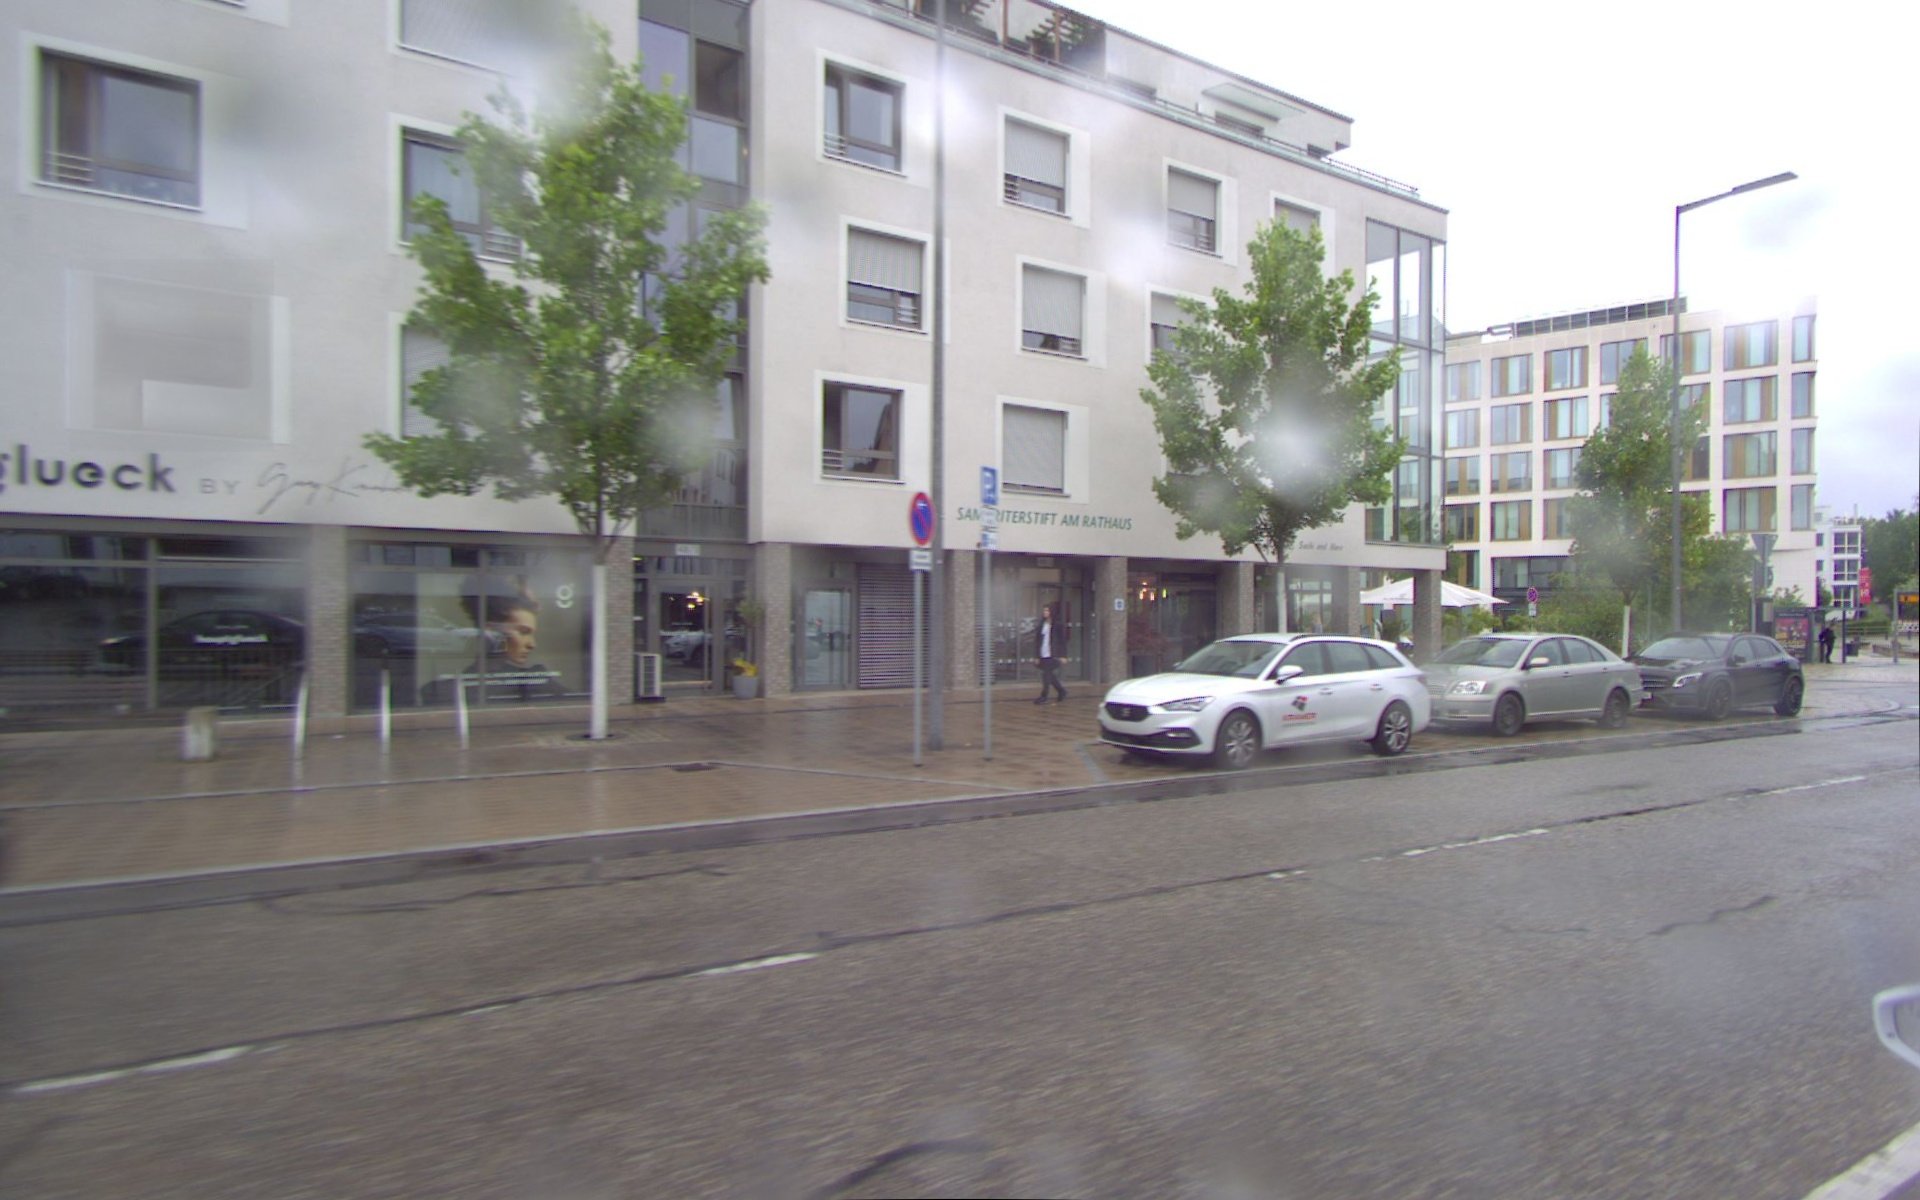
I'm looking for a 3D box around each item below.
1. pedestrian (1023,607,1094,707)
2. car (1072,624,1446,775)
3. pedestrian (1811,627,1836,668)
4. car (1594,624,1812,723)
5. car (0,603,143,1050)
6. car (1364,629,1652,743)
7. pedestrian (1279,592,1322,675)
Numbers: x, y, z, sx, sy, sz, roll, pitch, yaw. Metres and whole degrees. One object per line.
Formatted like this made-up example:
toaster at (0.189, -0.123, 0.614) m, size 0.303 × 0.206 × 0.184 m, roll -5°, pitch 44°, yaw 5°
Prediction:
pedestrian at (1.801, 1.036, 18.379) m, size 0.992 × 1.761 × 0.805 m, roll 3°, pitch -2°, yaw -31°
car at (3.645, 1.112, 11.971) m, size 4.429 × 1.482 × 1.785 m, roll 3°, pitch -2°, yaw -32°
pedestrian at (37.585, 2.072, 43.714) m, size 0.669 × 1.768 × 0.775 m, roll 3°, pitch -3°, yaw -44°
car at (13.447, 1.247, 18.113) m, size 4.418 × 1.603 × 1.580 m, roll 1°, pitch -2°, yaw -31°
car at (-5.519, 0.708, 3.255) m, size 4.136 × 1.543 × 1.871 m, roll 3°, pitch -2°, yaw -31°
car at (8.496, 1.293, 15.485) m, size 4.520 × 1.529 × 1.685 m, roll 3°, pitch -2°, yaw -28°
pedestrian at (9.119, 0.903, 26.913) m, size 0.744 × 2.173 × 0.761 m, roll 3°, pitch -1°, yaw -41°
